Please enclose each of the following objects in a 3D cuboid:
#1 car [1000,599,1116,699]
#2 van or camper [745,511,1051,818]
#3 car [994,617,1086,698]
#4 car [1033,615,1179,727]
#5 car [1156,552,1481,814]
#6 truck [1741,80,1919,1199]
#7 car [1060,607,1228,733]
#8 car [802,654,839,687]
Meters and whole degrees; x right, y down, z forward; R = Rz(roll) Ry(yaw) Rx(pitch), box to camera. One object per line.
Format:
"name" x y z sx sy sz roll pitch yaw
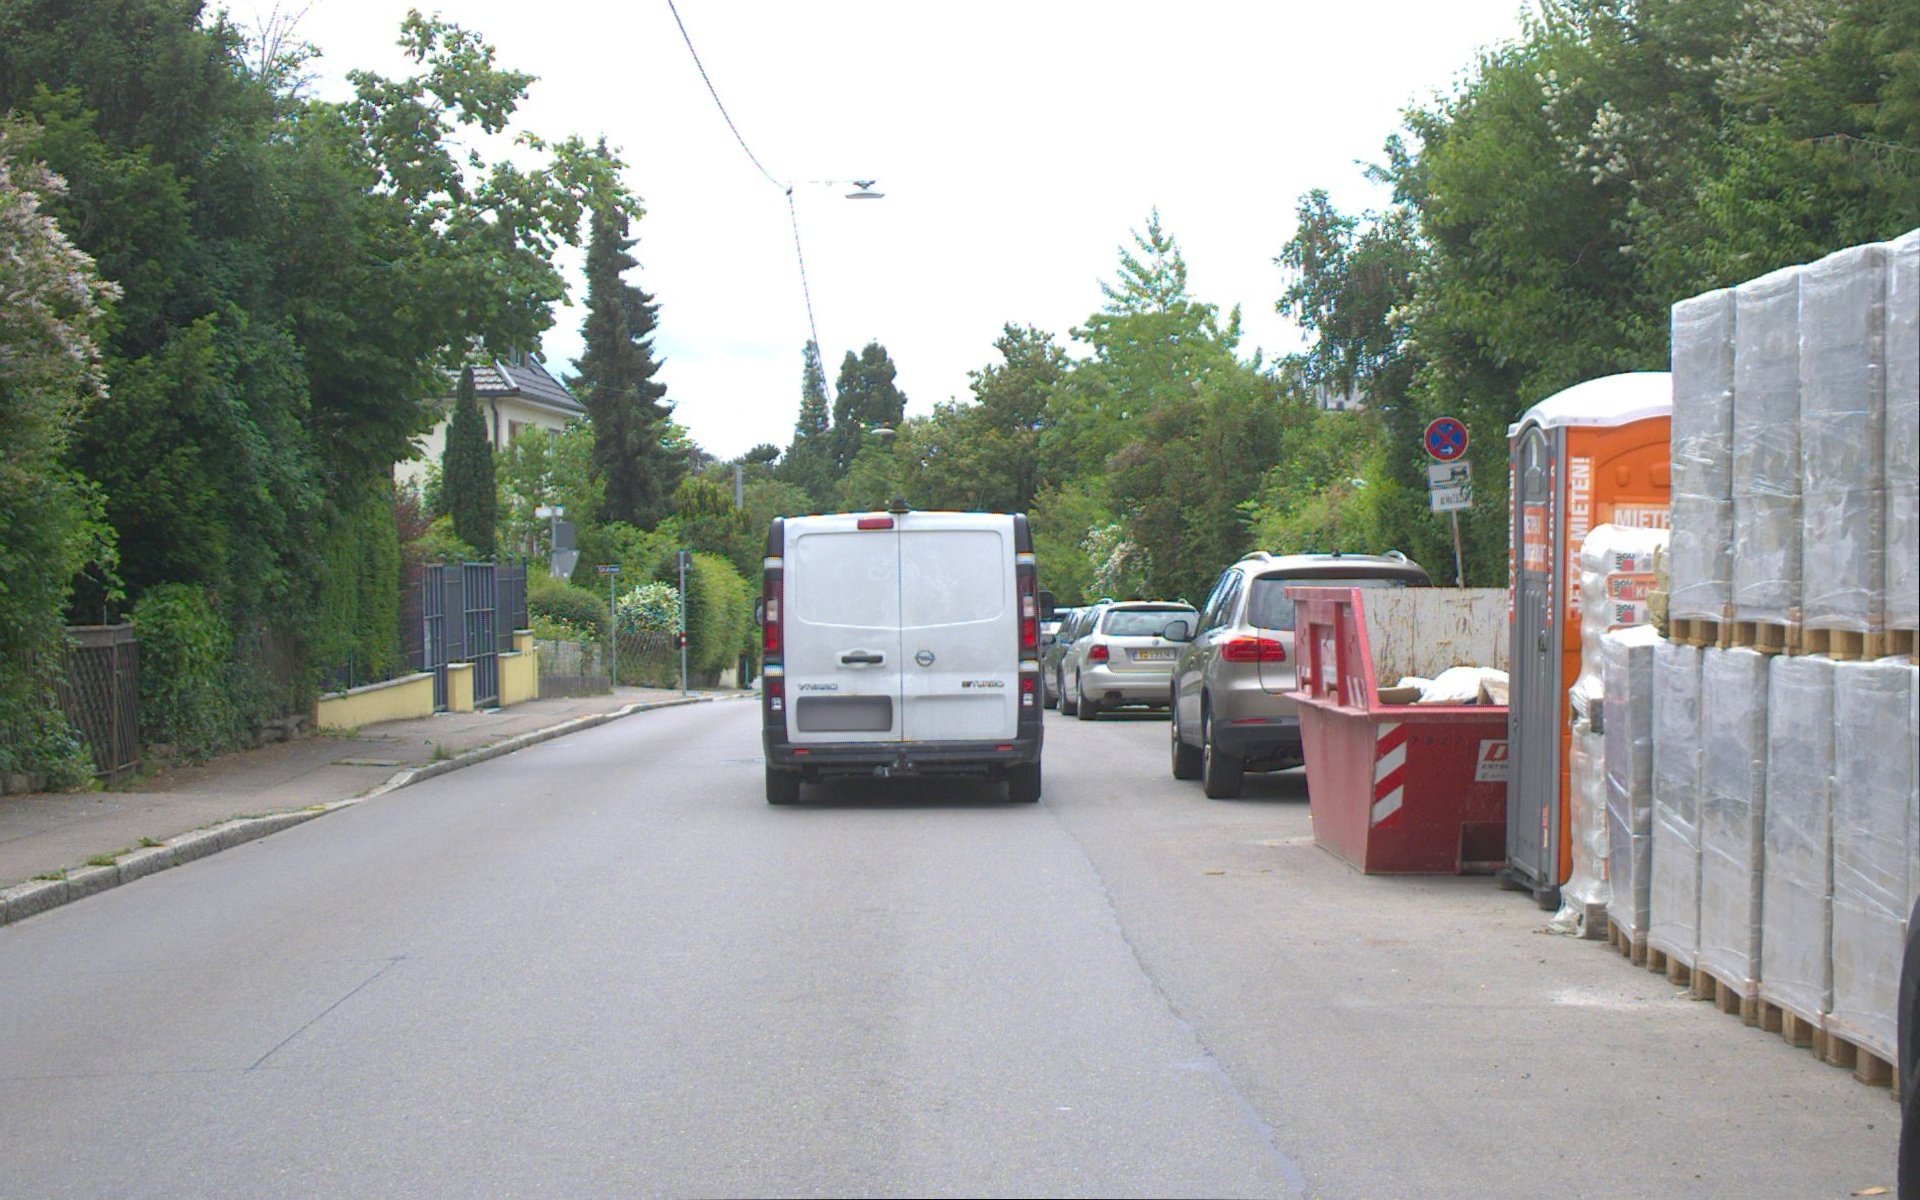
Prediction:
"car" 1.671 0.822 59.777 1.744 1.624 4.259 -1 0 -1
"van or camper" -0.450 0.431 24.309 1.939 1.947 4.765 0 -1 -1
"car" 1.690 1.210 73.774 1.744 1.624 4.259 -1 0 -1
"car" 2.022 0.970 48.754 1.744 1.442 4.259 -1 0 -1
"car" 2.458 0.534 24.510 1.744 1.669 4.185 -1 0 -1
"truck" 2.844 0.336 3.716 2.187 2.463 7.431 0 1 -1
"car" 2.258 0.841 43.143 1.744 1.442 4.259 -1 0 -1
"car" -6.952 3.513 171.705 1.744 1.520 4.012 -1 0 -1
